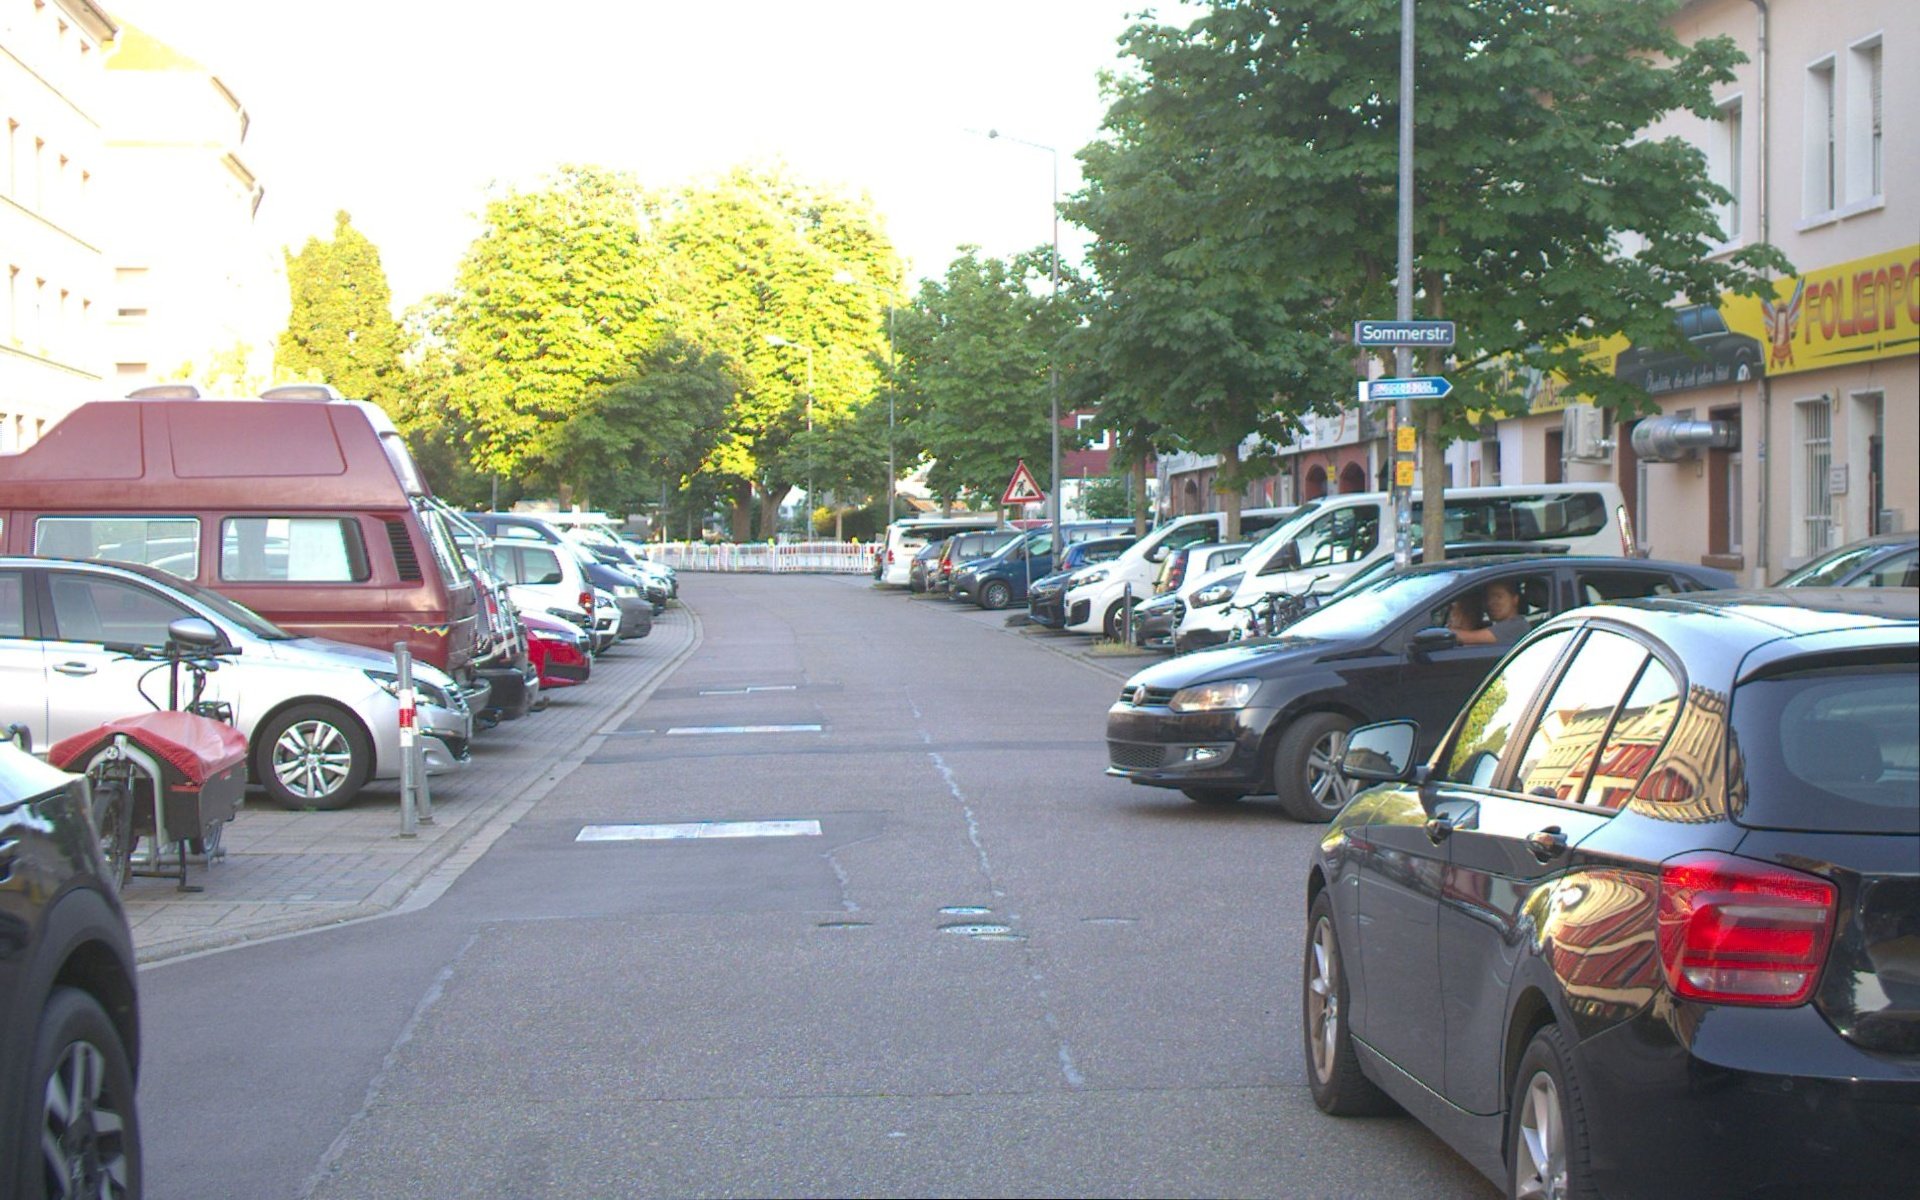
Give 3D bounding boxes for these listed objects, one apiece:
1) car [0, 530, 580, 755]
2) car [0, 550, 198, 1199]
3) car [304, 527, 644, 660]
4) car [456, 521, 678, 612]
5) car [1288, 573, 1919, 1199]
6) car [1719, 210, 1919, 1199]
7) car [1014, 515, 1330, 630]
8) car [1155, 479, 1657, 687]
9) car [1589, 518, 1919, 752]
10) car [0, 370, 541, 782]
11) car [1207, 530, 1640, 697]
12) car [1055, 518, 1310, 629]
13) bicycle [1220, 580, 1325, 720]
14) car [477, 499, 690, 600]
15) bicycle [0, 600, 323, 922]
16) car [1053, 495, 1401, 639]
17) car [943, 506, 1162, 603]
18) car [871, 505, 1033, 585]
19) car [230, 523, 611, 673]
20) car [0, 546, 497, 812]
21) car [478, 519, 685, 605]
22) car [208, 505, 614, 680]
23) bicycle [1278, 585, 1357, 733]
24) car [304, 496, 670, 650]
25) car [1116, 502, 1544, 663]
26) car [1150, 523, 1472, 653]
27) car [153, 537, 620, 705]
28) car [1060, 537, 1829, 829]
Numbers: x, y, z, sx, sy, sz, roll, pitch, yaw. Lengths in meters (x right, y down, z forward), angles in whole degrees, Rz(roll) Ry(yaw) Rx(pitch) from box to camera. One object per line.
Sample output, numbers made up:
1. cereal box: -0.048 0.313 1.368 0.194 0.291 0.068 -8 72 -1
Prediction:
1. car: -4.999 0.293 25.608 4.208 1.532 1.791 1 1 -4
2. car: -2.609 0.719 5.001 1.780 1.512 3.999 -1 1 5
3. car: -6.374 -0.102 45.433 4.256 1.646 1.888 1 1 -2
4. car: -7.852 -0.688 69.048 4.256 1.709 2.000 1 1 -2
5. car: 1.883 0.692 7.562 1.721 1.419 4.254 1 1 -2
6. car: 2.088 0.548 2.121 1.893 1.877 5.083 0 1 -3
7. car: 3.475 -0.462 56.926 4.943 1.683 2.077 -2 1 -3
8. car: 4.703 -0.202 36.847 4.989 1.976 2.220 -2 1 -1
9. car: 6.740 0.202 24.758 4.050 1.509 1.756 -2 3 -1
10. car: -5.198 -0.187 23.023 4.511 2.575 2.000 1 1 0
11. car: 4.543 0.108 34.060 3.918 1.446 1.769 -2 1 -4
12. car: 3.981 -0.489 61.851 4.316 1.798 1.811 -2 1 -3
13. bicycle: 2.683 0.408 29.668 0.438 1.126 2.018 -2 1 -8
14. car: -8.347 -1.121 76.440 4.533 2.127 2.000 1 1 -2
15. bicycle: -3.478 0.645 15.206 0.807 1.217 2.865 1 1 -1
16. car: 4.002 -0.512 52.068 4.943 1.951 2.049 -2 1 -3
17. car: 1.980 -0.989 74.524 4.478 1.905 1.688 -2 1 -7
18. car: -0.238 -1.440 89.906 3.967 1.905 2.050 -2 1 -7
19. car: -6.383 -0.041 41.075 4.256 1.654 2.000 1 1 -2
20. car: -5.133 0.428 20.457 4.615 1.455 1.881 1 1 -5
21. car: -8.096 -0.826 73.814 4.256 1.743 2.000 1 1 -2
22. car: -6.100 -0.098 38.608 4.256 1.830 2.000 1 1 -2
23. bicycle: 3.096 0.495 29.868 0.386 1.196 2.017 -1 1 -2
24. car: -6.547 -0.385 47.980 4.850 2.014 1.907 1 1 -2
25. car: 4.479 -0.230 42.188 4.944 1.736 2.049 -2 1 -1
26. car: 4.532 -0.173 44.825 3.911 1.521 1.939 -2 1 -1
27. car: -5.475 0.180 33.206 4.209 1.484 1.850 1 1 -1
28. car: 2.697 0.409 19.276 3.927 1.450 1.658 -1 2 -18
